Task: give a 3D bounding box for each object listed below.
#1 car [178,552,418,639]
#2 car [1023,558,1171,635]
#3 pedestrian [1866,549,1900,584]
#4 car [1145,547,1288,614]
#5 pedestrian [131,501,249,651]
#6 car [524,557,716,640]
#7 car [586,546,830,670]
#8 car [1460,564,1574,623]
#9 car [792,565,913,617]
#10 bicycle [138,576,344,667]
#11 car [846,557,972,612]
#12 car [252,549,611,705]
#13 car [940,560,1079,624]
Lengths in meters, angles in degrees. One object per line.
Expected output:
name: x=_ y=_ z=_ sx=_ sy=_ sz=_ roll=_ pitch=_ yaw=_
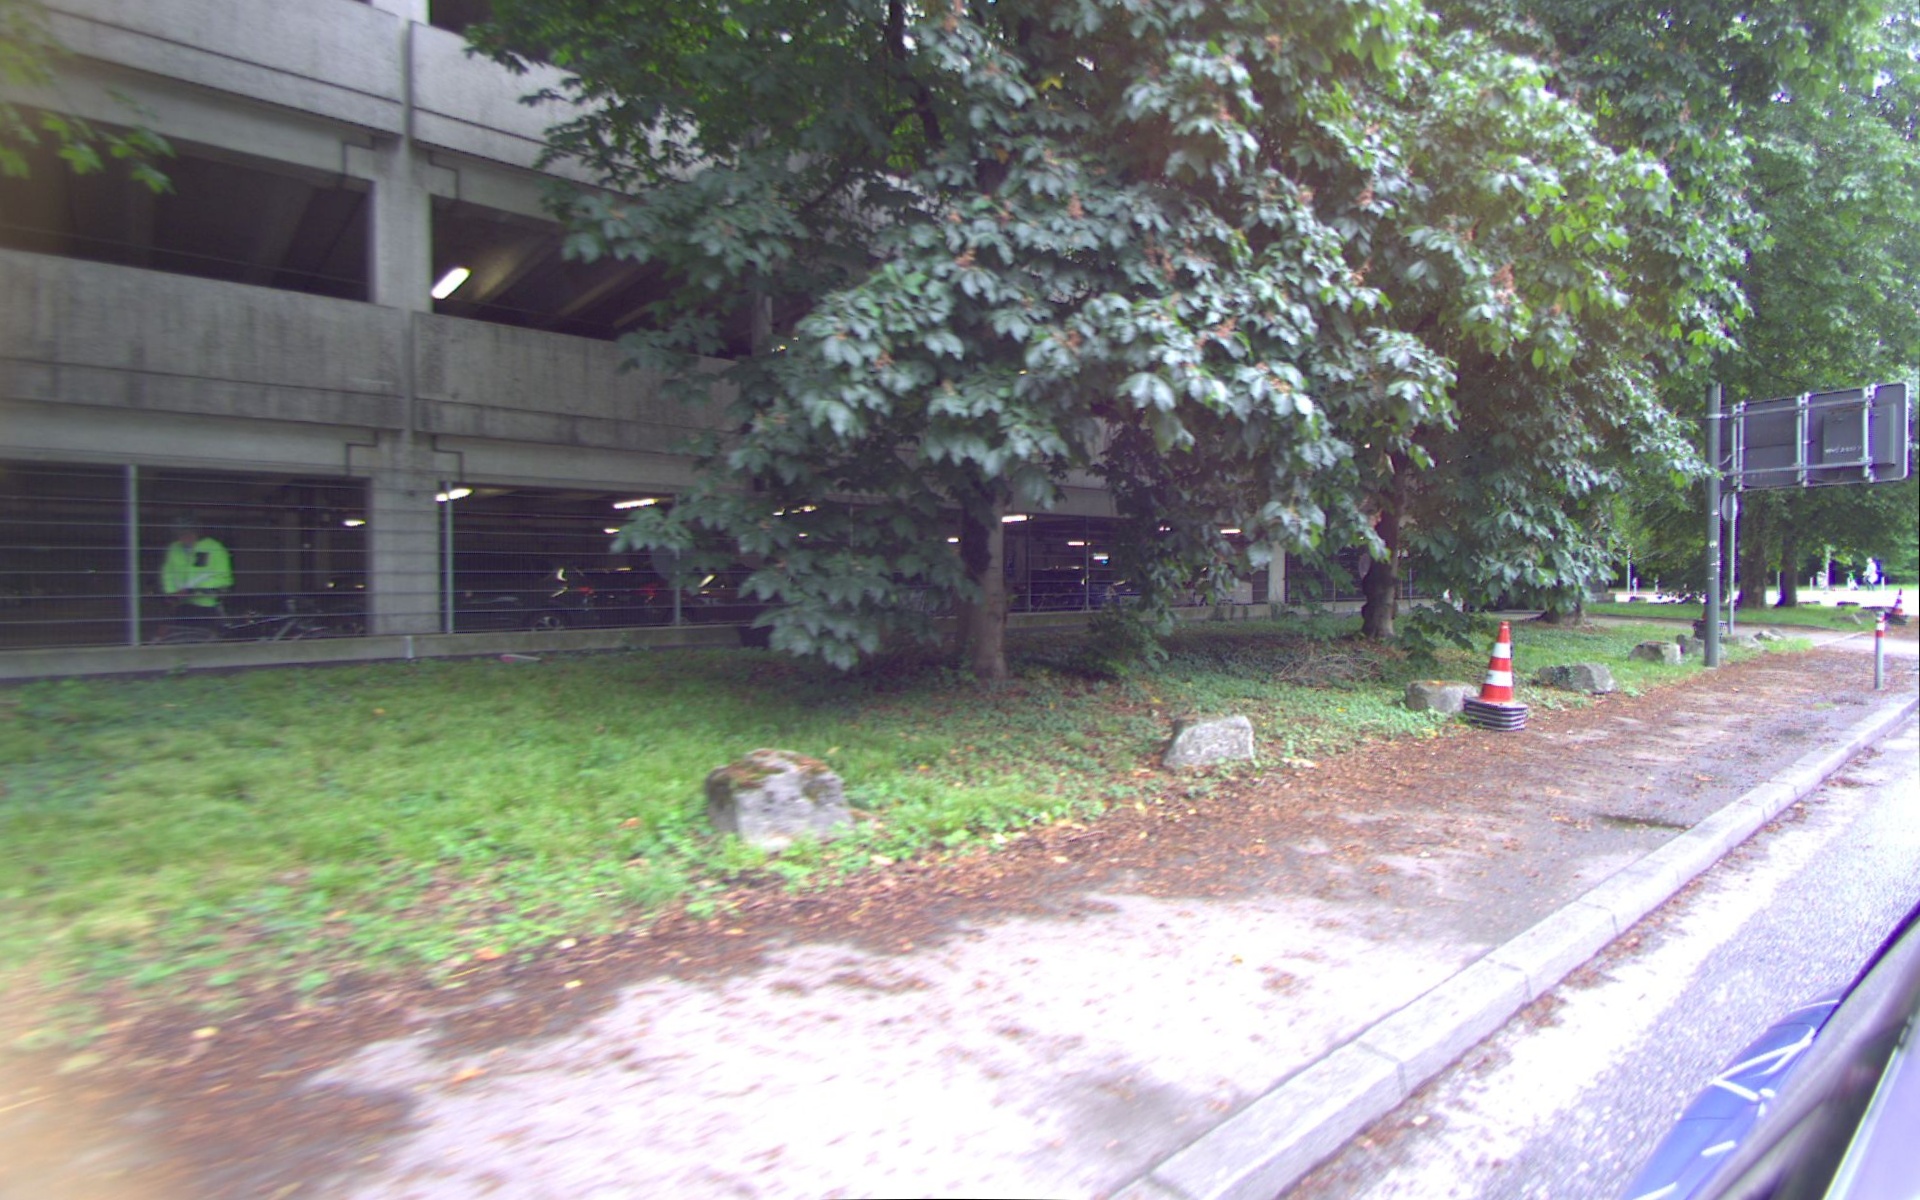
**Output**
car: x=-13.676 y=-0.133 z=21.037 sx=3.935 sy=1.587 sz=1.718 roll=-3 pitch=2 yaw=-42
car: x=3.522 y=-0.131 z=25.673 sx=3.791 sy=1.729 sz=1.588 roll=-3 pitch=2 yaw=-41
pedestrian: x=51.078 y=-1.830 z=56.006 sx=0.911 sy=1.856 sz=1.201 roll=-4 pitch=2 yaw=-37
car: x=7.383 y=-0.583 z=28.907 sx=4.588 sy=1.729 sz=1.588 roll=-3 pitch=2 yaw=-41
pedestrian: x=-7.185 y=-0.228 z=9.472 sx=0.623 sy=1.334 sz=0.644 roll=-2 pitch=1 yaw=-13
car: x=-7.495 y=-0.081 z=22.481 sx=3.640 sy=1.627 sz=1.718 roll=-3 pitch=2 yaw=-42
car: x=-4.684 y=0.077 z=19.026 sx=3.930 sy=2.038 sz=1.997 roll=-3 pitch=2 yaw=-40
car: x=18.906 y=-0.262 z=34.270 sx=4.654 sy=1.857 sz=1.922 roll=-2 pitch=1 yaw=-41
car: x=-3.558 y=-0.331 z=33.805 sx=3.639 sy=1.565 sz=1.719 roll=-3 pitch=2 yaw=-41
bicycle: x=-6.600 y=0.171 z=9.350 sx=0.446 sy=0.745 sz=1.474 roll=-1 pitch=2 yaw=41
car: x=-1.568 y=-0.504 z=31.642 sx=3.640 sy=1.565 sz=1.718 roll=-3 pitch=2 yaw=-42
car: x=-8.137 y=0.291 z=15.835 sx=4.595 sy=2.038 sz=1.996 roll=-3 pitch=2 yaw=-41
car: x=1.408 y=-0.241 z=27.754 sx=3.640 sy=1.565 sz=1.718 roll=-3 pitch=2 yaw=-42
